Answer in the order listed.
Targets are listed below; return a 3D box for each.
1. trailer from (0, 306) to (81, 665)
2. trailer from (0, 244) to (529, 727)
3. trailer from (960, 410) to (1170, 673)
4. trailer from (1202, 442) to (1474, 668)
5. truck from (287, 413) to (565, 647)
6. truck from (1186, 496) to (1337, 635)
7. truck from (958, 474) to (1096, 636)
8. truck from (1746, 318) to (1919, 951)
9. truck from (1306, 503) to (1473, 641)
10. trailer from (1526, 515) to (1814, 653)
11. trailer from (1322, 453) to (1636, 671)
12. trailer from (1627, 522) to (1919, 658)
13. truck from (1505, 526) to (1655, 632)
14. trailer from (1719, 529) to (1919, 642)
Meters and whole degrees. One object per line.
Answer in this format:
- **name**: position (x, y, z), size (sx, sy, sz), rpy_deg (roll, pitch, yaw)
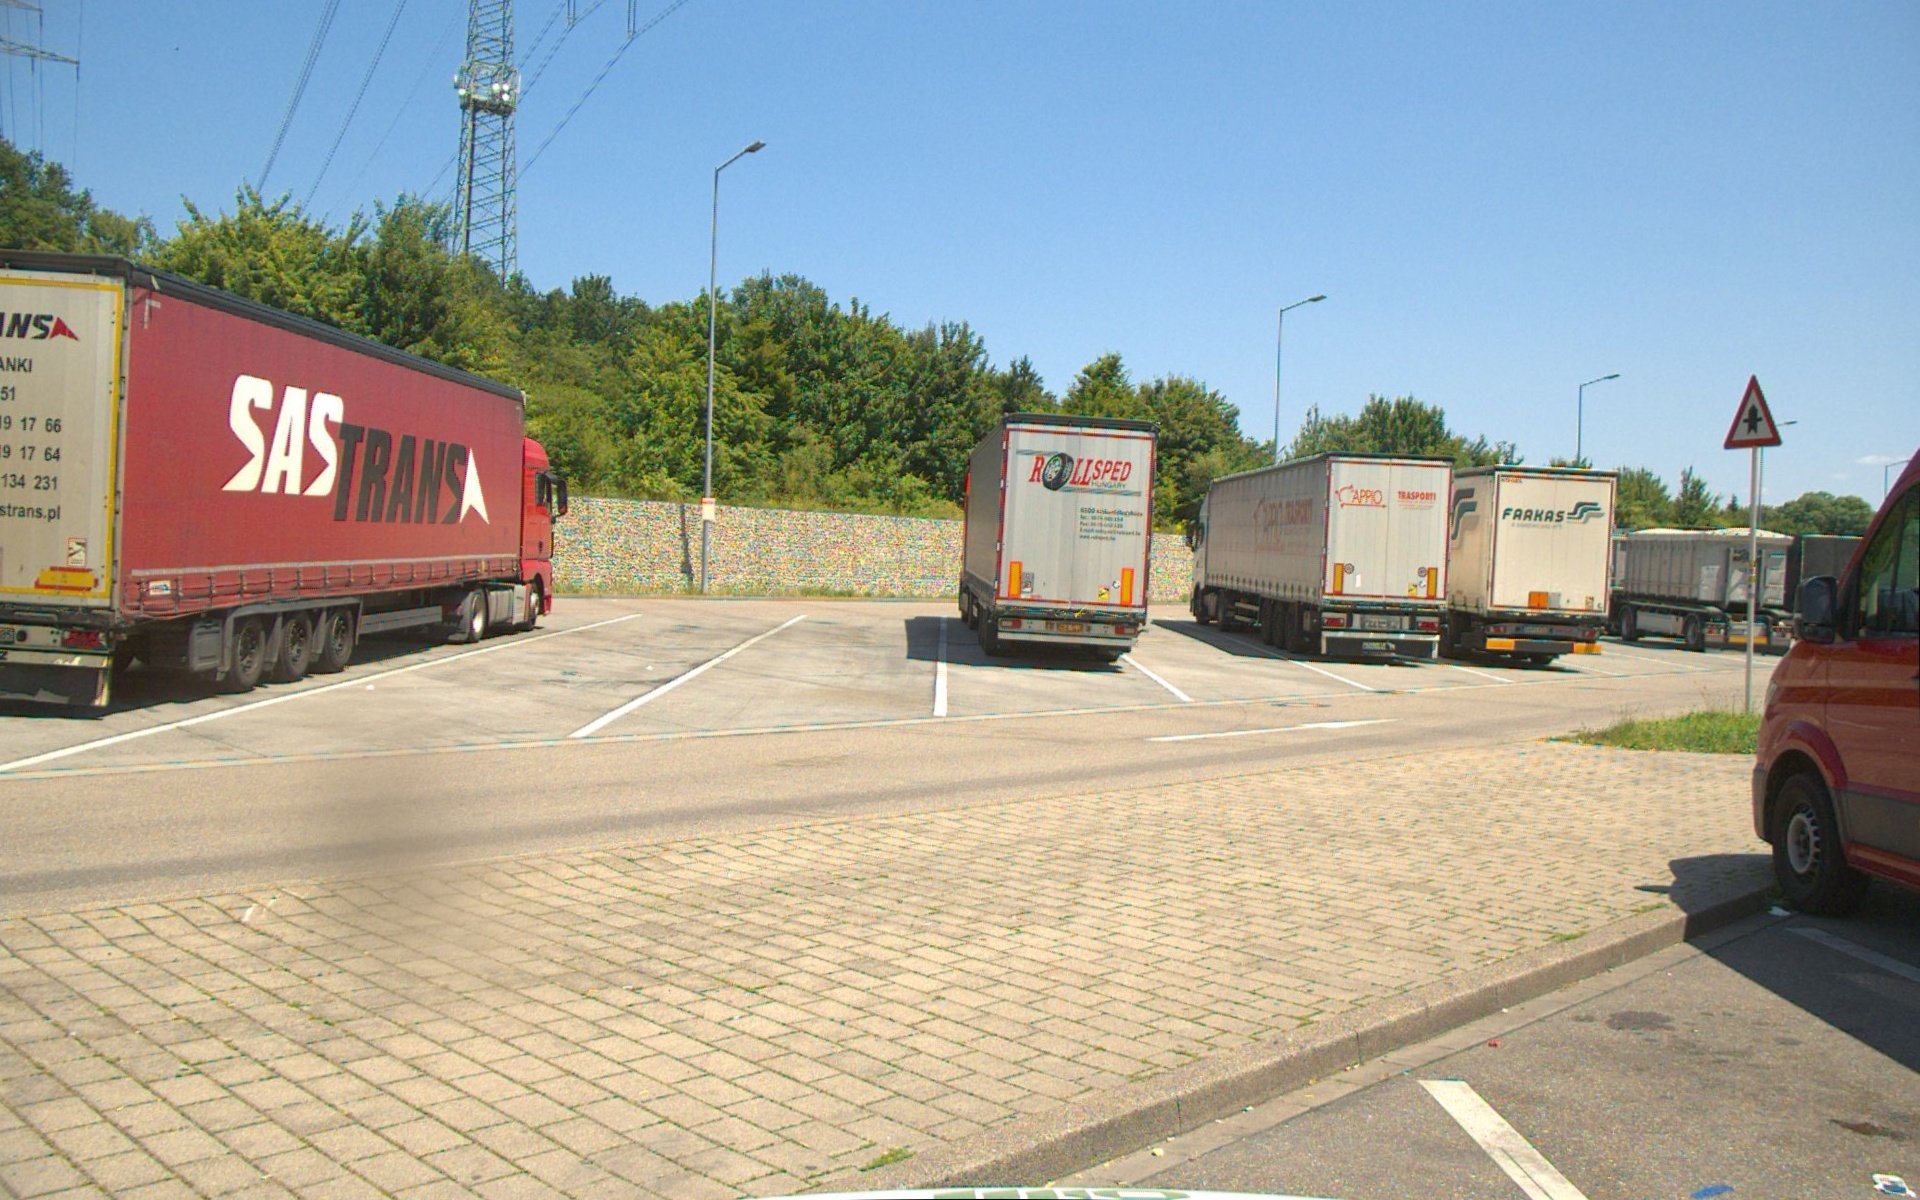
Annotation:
- **trailer**: position (-12.496, -1.255, 15.790), size (2.651, 4.173, 10.389), rpy_deg (2, 2, -1)
- **trailer**: position (-8.699, -1.267, 21.247), size (2.764, 4.141, 13.763), rpy_deg (2, 2, -1)
- **trailer**: position (1.666, -1.174, 33.146), size (2.800, 4.040, 13.761), rpy_deg (2, 2, -2)
- **trailer**: position (8.240, -1.102, 38.499), size (2.800, 4.180, 13.762), rpy_deg (2, 2, -1)
- **truck**: position (-8.808, -1.159, 28.063), size (2.755, 3.421, 5.974), rpy_deg (2, 2, -1)
- **truck**: position (8.117, -0.984, 45.261), size (2.808, 3.421, 5.974), rpy_deg (2, 2, -1)
- **truck**: position (1.465, -1.090, 39.343), size (2.808, 3.421, 5.974), rpy_deg (2, 2, -1)
- **truck**: position (4.986, 0.156, 5.515), size (1.969, 2.697, 6.457), rpy_deg (1, 0, 3)
- **truck**: position (11.648, -0.824, 45.389), size (2.808, 3.421, 5.974), rpy_deg (2, 2, -1)
- **trailer**: position (21.825, -0.684, 52.244), size (2.800, 3.662, 13.762), rpy_deg (2, 2, -1)
- **trailer**: position (11.759, -0.992, 39.564), size (2.800, 4.180, 13.762), rpy_deg (2, 2, -1)
- **trailer**: position (25.707, -0.519, 52.909), size (2.800, 3.662, 13.762), rpy_deg (2, 2, -1)
- **truck**: position (21.726, -0.798, 58.339), size (2.808, 3.421, 5.974), rpy_deg (2, 2, -1)
- **trailer**: position (34.777, -0.715, 65.444), size (2.800, 3.972, 13.762), rpy_deg (2, 2, -1)
